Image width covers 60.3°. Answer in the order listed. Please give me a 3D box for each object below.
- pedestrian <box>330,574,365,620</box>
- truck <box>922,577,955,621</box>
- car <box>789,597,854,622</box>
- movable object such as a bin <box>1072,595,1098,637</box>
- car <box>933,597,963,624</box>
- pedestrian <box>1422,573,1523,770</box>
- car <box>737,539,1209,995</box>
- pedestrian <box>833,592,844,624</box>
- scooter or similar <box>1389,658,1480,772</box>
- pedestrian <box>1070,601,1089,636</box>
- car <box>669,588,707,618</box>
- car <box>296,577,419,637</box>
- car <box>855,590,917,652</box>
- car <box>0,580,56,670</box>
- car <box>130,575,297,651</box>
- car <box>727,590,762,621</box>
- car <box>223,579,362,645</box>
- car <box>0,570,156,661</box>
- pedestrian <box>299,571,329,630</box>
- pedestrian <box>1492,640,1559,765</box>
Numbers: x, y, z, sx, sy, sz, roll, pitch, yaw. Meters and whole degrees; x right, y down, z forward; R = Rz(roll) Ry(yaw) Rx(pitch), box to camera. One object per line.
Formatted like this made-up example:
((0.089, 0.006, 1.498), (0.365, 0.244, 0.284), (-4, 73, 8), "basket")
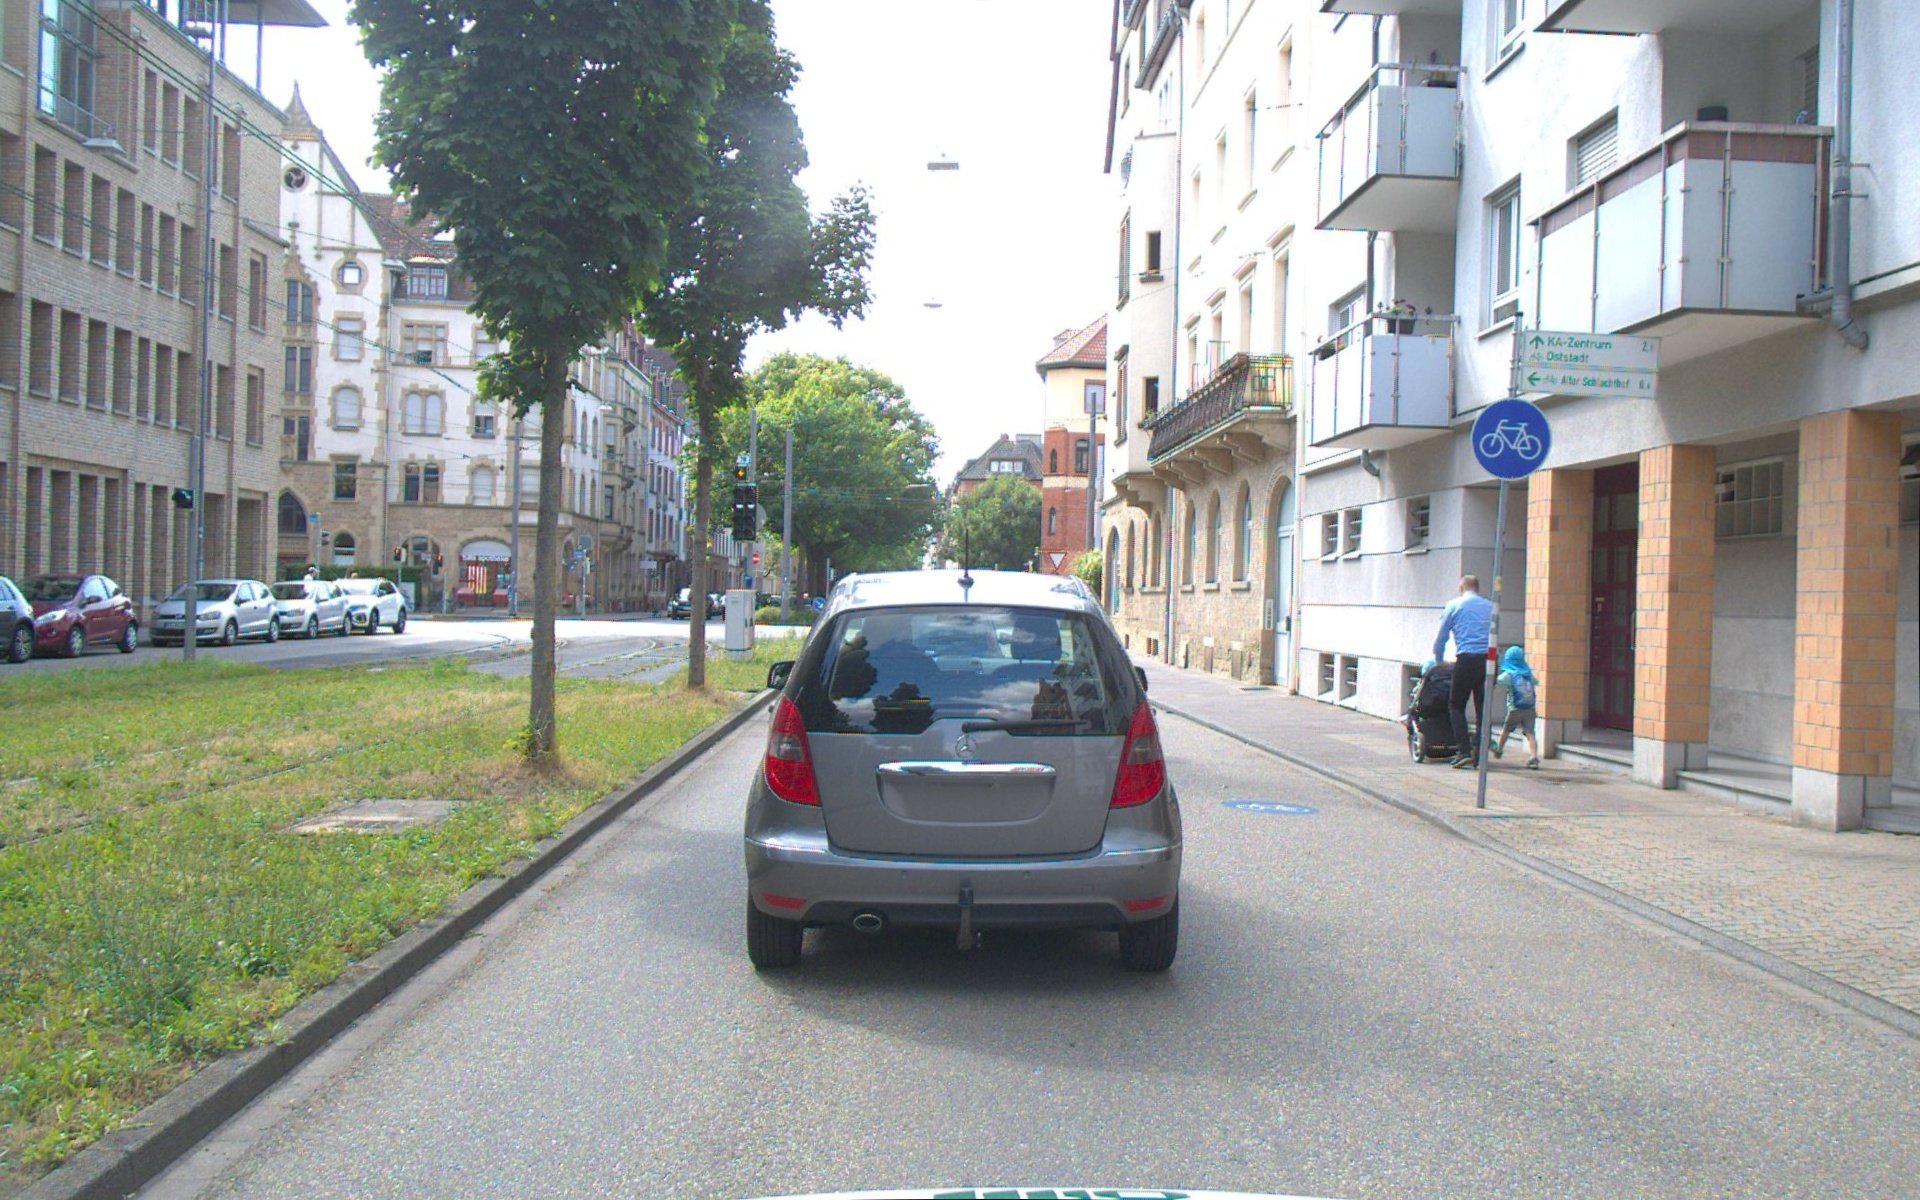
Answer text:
((-23.992, -0.127, 64.773), (0.763, 1.752, 1.017), (1, 0, 44), "pedestrian")
((-1.491, -0.074, 116.782), (2.079, 3.022, 4.001), (1, 0, 2), "truck")
((-8.262, 0.547, 98.446), (1.957, 1.362, 3.941), (2, 0, -41), "car")
((4.510, 0.577, 59.726), (0.701, 1.497, 0.980), (1, 0, -10), "movable object such as a bin")
((-0.738, 0.660, 103.953), (1.716, 1.661, 3.500), (2, 0, 2), "car")
((4.790, 0.651, 15.490), (0.608, 1.769, 0.877), (-2, 0, -1), "pedestrian")
((0.026, 0.609, 7.819), (1.687, 1.633, 3.676), (1, 0, -1), "car")
((-6.891, 0.452, 93.798), (0.484, 1.755, 0.652), (2, 0, -9), "pedestrian")
((4.643, 1.112, 16.217), (0.580, 1.019, 0.905), (-3, 0, -1), "scooter or similar")
((5.788, 0.896, 80.368), (0.851, 1.685, 0.736), (1, 0, 3), "pedestrian")
((-15.694, 0.185, 95.447), (1.955, 1.646, 3.994), (1, 0, -7), "car")
((-16.942, 0.178, 46.725), (1.893, 1.561, 4.257), (1, 0, -1), "car")
((-2.161, 0.602, 49.000), (1.687, 1.736, 3.676), (1, 0, -1), "car")
((-16.175, 0.385, 25.733), (1.893, 1.420, 4.238), (1, 0, -1), "car")
((-16.571, 0.276, 36.951), (1.813, 1.557, 4.209), (1, 0, -1), "car")
((-12.641, 0.297, 97.031), (1.955, 1.758, 3.994), (1, 0, -7), "car")
((-16.868, 0.296, 42.015), (1.893, 1.557, 4.014), (1, 0, -1), "car")
((-16.402, 0.258, 30.354), (1.550, 1.557, 3.549), (1, 0, -1), "car")
((-20.290, 0.012, 51.910), (0.751, 1.827, 0.952), (2, 0, -27), "pedestrian")
((5.368, 0.962, 15.706), (0.447, 1.154, 0.494), (-1, 0, -1), "pedestrian")
